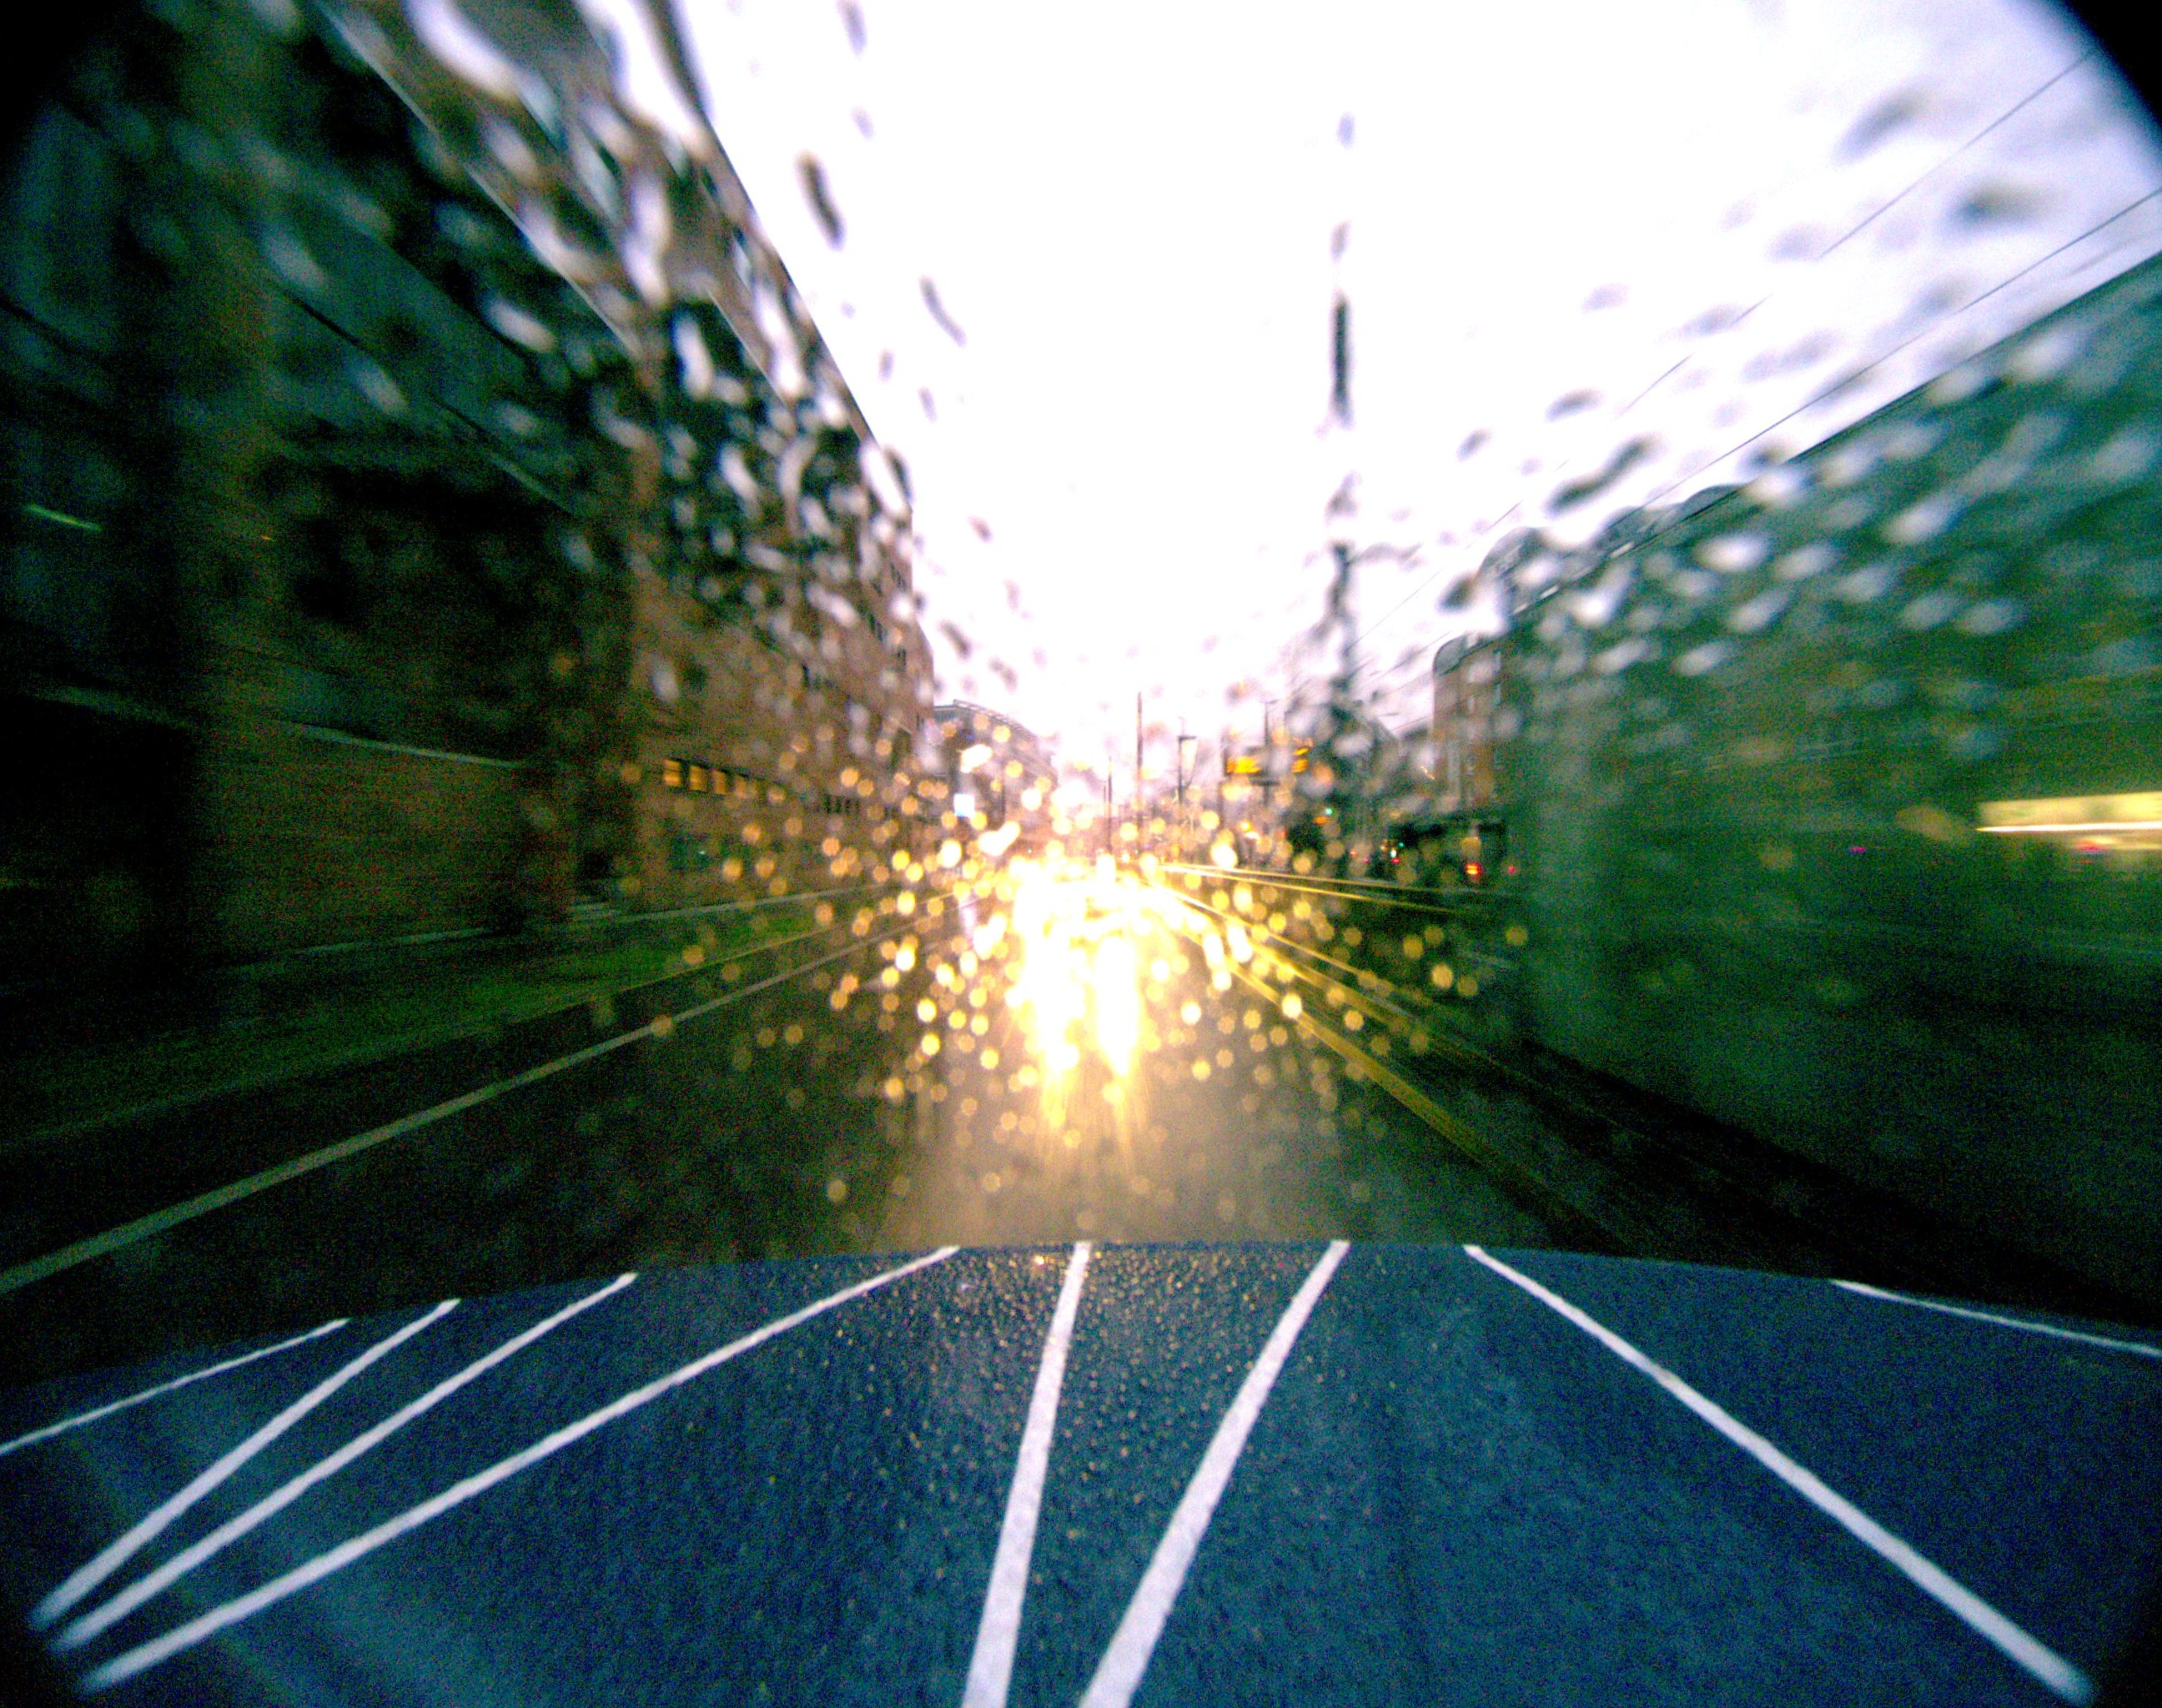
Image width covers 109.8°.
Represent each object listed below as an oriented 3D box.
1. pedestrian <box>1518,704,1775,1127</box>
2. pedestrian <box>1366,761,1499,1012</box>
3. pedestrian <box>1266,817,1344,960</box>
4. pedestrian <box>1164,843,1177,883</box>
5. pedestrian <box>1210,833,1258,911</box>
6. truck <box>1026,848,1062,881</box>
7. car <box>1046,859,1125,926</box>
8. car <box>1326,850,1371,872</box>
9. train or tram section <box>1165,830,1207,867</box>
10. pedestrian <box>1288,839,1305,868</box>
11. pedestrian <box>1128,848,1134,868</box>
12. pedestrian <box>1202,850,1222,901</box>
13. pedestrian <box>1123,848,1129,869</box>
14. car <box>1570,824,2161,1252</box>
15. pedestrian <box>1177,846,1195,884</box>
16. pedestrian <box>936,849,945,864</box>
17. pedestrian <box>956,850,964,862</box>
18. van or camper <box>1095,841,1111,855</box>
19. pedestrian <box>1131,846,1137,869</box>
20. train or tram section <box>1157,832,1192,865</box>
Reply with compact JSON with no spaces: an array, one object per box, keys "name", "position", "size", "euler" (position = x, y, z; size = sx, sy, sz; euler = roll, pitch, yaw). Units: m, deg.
[{"name":"pedestrian","position":[3.051,0.303,4.185],"size":[0.812,2.098,0.804],"euler":[-1,1,-2]},{"name":"pedestrian","position":[3.101,0.273,6.777],"size":[0.811,2.098,0.804],"euler":[0,1,1]},{"name":"pedestrian","position":[3.193,0.469,10.828],"size":[0.802,1.936,0.814],"euler":[0,1,40]},{"name":"pedestrian","position":[3.845,0.375,32.577],"size":[0.482,1.669,0.563],"euler":[-1,1,-2]},{"name":"pedestrian","position":[3.438,0.391,17.121],"size":[0.779,1.694,0.772],"euler":[-1,1,-18]},{"name":"truck","position":[-2.263,0.628,47.437],"size":[1.909,1.906,4.617],"euler":[-2,0,0]},{"name":"car","position":[0.105,0.882,19.412],"size":[1.774,1.449,4.221],"euler":[-2,0,0]},{"name":"car","position":[17.620,0.446,50.190],"size":[1.686,1.346,3.545],"euler":[-1,1,0]},{"name":"train or tram section","position":[10.857,-0.578,79.740],"size":[2.907,3.547,11.034],"euler":[-2,0,1]},{"name":"pedestrian","position":[13.796,-0.034,48.587],"size":[0.794,1.876,0.883],"euler":[-1,1,-2]},{"name":"pedestrian","position":[4.334,0.334,65.307],"size":[0.434,1.725,0.473],"euler":[-1,1,-4]},{"name":"pedestrian","position":[4.385,0.697,25.508],"size":[0.541,1.682,0.643],"euler":[-1,1,-2]},{"name":"pedestrian","position":[3.942,0.378,66.872],"size":[0.413,1.835,0.669],"euler":[-1,1,-4]},{"name":"car","position":[4.364,0.595,4.112],"size":[1.435,1.434,3.136],"euler":[-2,0,1]},{"name":"pedestrian","position":[4.463,0.465,32.359],"size":[0.620,1.581,0.622],"euler":[-1,1,-2]},{"name":"pedestrian","position":[-17.521,0.310,94.730],"size":[0.802,1.800,0.649],"euler":[-1,1,-33]},{"name":"pedestrian","position":[-18.248,0.256,114.841],"size":[1.152,1.776,0.777],"euler":[0,1,-9]},{"name":"van or camper","position":[4.162,-1.224,144.160],"size":[2.059,2.533,5.890],"euler":[-2,0,12]},{"name":"pedestrian","position":[4.504,0.309,64.793],"size":[0.434,1.956,0.473],"euler":[-1,1,-4]},{"name":"train or tram section","position":[11.080,-0.636,90.780],"size":[2.932,3.557,11.034],"euler":[-2,0,1]}]
